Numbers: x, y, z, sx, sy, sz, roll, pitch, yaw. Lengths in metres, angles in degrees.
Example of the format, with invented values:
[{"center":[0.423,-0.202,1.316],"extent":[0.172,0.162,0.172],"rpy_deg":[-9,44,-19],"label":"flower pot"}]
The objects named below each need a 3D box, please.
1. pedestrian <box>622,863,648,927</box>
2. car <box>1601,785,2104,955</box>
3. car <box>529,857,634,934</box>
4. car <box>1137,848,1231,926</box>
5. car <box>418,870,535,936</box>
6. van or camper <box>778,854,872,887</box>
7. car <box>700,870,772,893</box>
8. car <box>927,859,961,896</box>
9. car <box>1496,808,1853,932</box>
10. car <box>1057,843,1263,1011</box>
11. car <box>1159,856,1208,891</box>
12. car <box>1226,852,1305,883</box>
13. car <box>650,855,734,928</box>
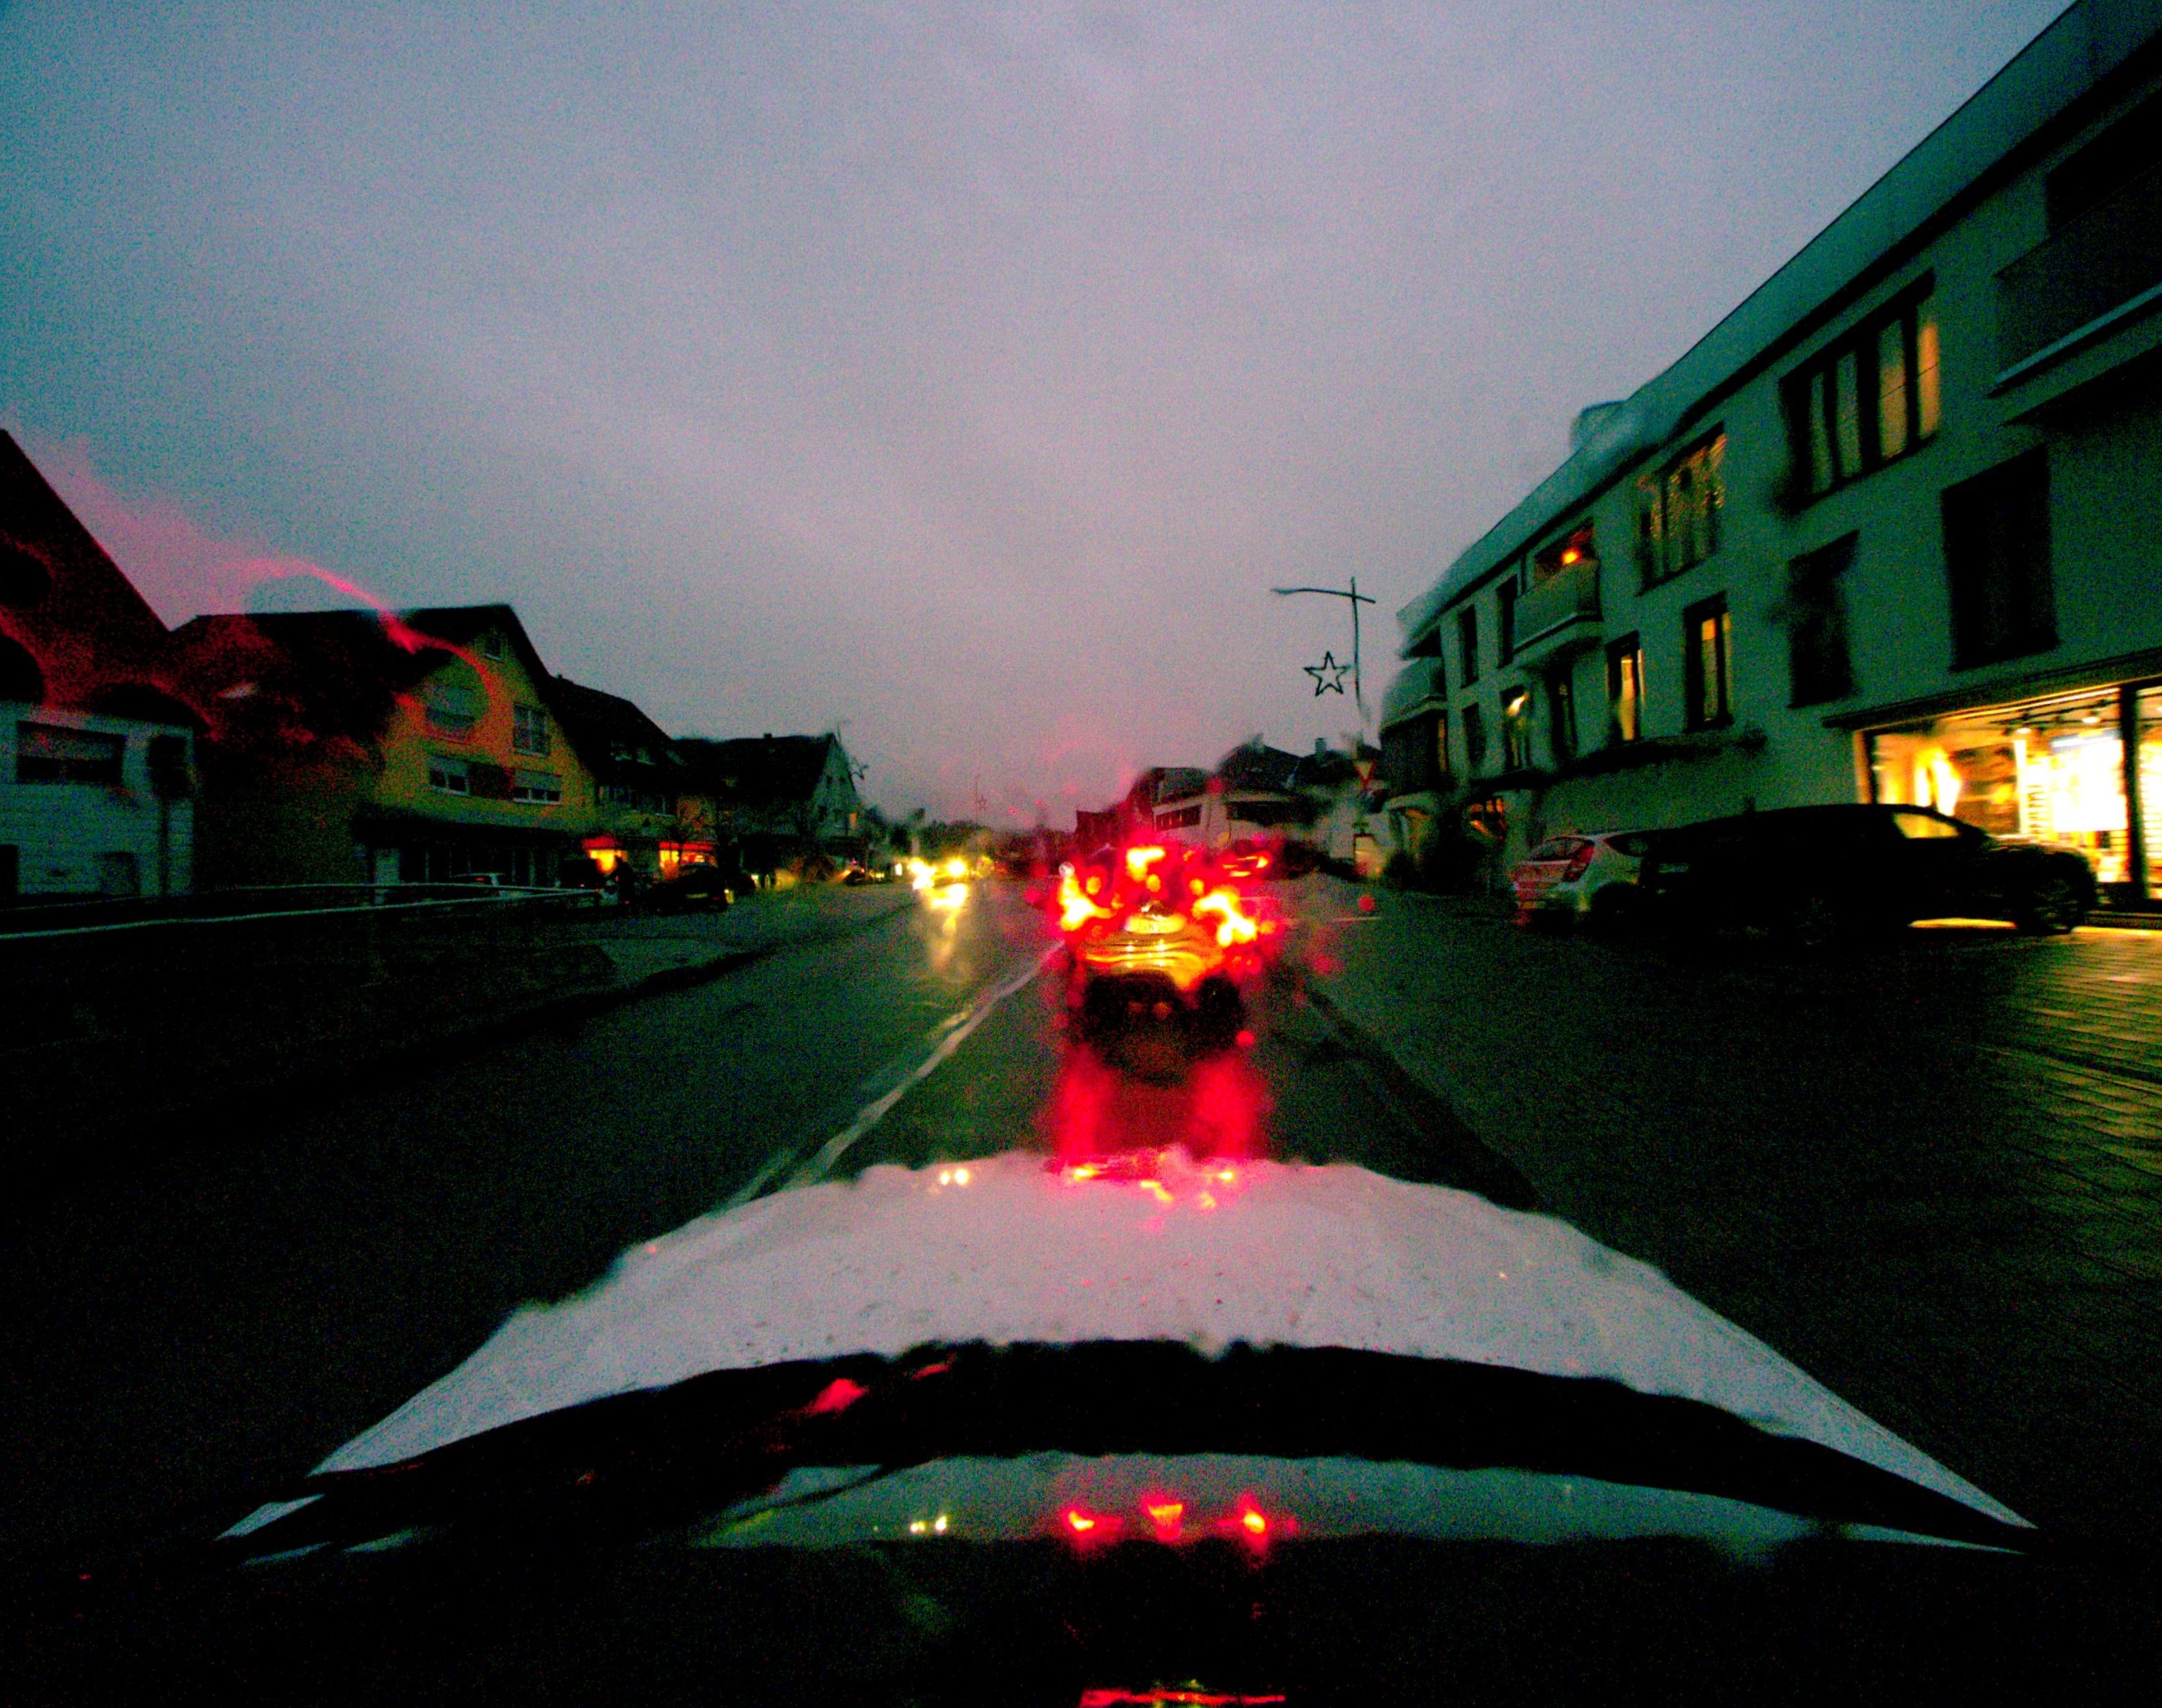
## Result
[{"center":[-12.291,1.108,22.466],"extent":[0.498,1.701,0.707],"rpy_deg":[-3,0,-25],"label":"pedestrian"},{"center":[8.663,0.163,9.392],"extent":[4.197,1.460,1.790],"rpy_deg":[-4,-1,-4],"label":"car"},{"center":[-14.126,1.099,23.273],"extent":[2.047,1.925,4.023],"rpy_deg":[-2,0,-25],"label":"car"},{"center":[2.072,0.630,17.300],"extent":[1.675,1.453,4.003],"rpy_deg":[0,0,3],"label":"car"},{"center":[-17.031,1.313,23.156],"extent":[1.830,1.613,4.023],"rpy_deg":[-2,0,-25],"label":"car"},{"center":[-16.473,1.078,52.445],"extent":[5.489,1.954,2.008],"rpy_deg":[-2,0,15],"label":"van or camper"},{"center":[-22.749,1.826,53.835],"extent":[3.976,1.365,1.726],"rpy_deg":[-2,0,-2],"label":"car"},{"center":[-8.580,1.472,51.151],"extent":[1.993,2.204,4.404],"rpy_deg":[1,-1,-9],"label":"car"},{"center":[8.952,0.230,12.509],"extent":[4.197,1.460,1.790],"rpy_deg":[-4,-1,-4],"label":"car"},{"center":[0.859,0.697,9.914],"extent":[1.956,1.594,4.316],"rpy_deg":[0,0,3],"label":"car"},{"center":[4.494,0.802,35.330],"extent":[1.982,1.391,4.010],"rpy_deg":[-2,0,8],"label":"car"},{"center":[9.657,0.682,42.505],"extent":[4.021,1.418,1.976],"rpy_deg":[-1,-2,-41],"label":"car"},{"center":[-11.514,1.037,24.248],"extent":[2.047,1.925,4.023],"rpy_deg":[-2,0,-25],"label":"car"}]
